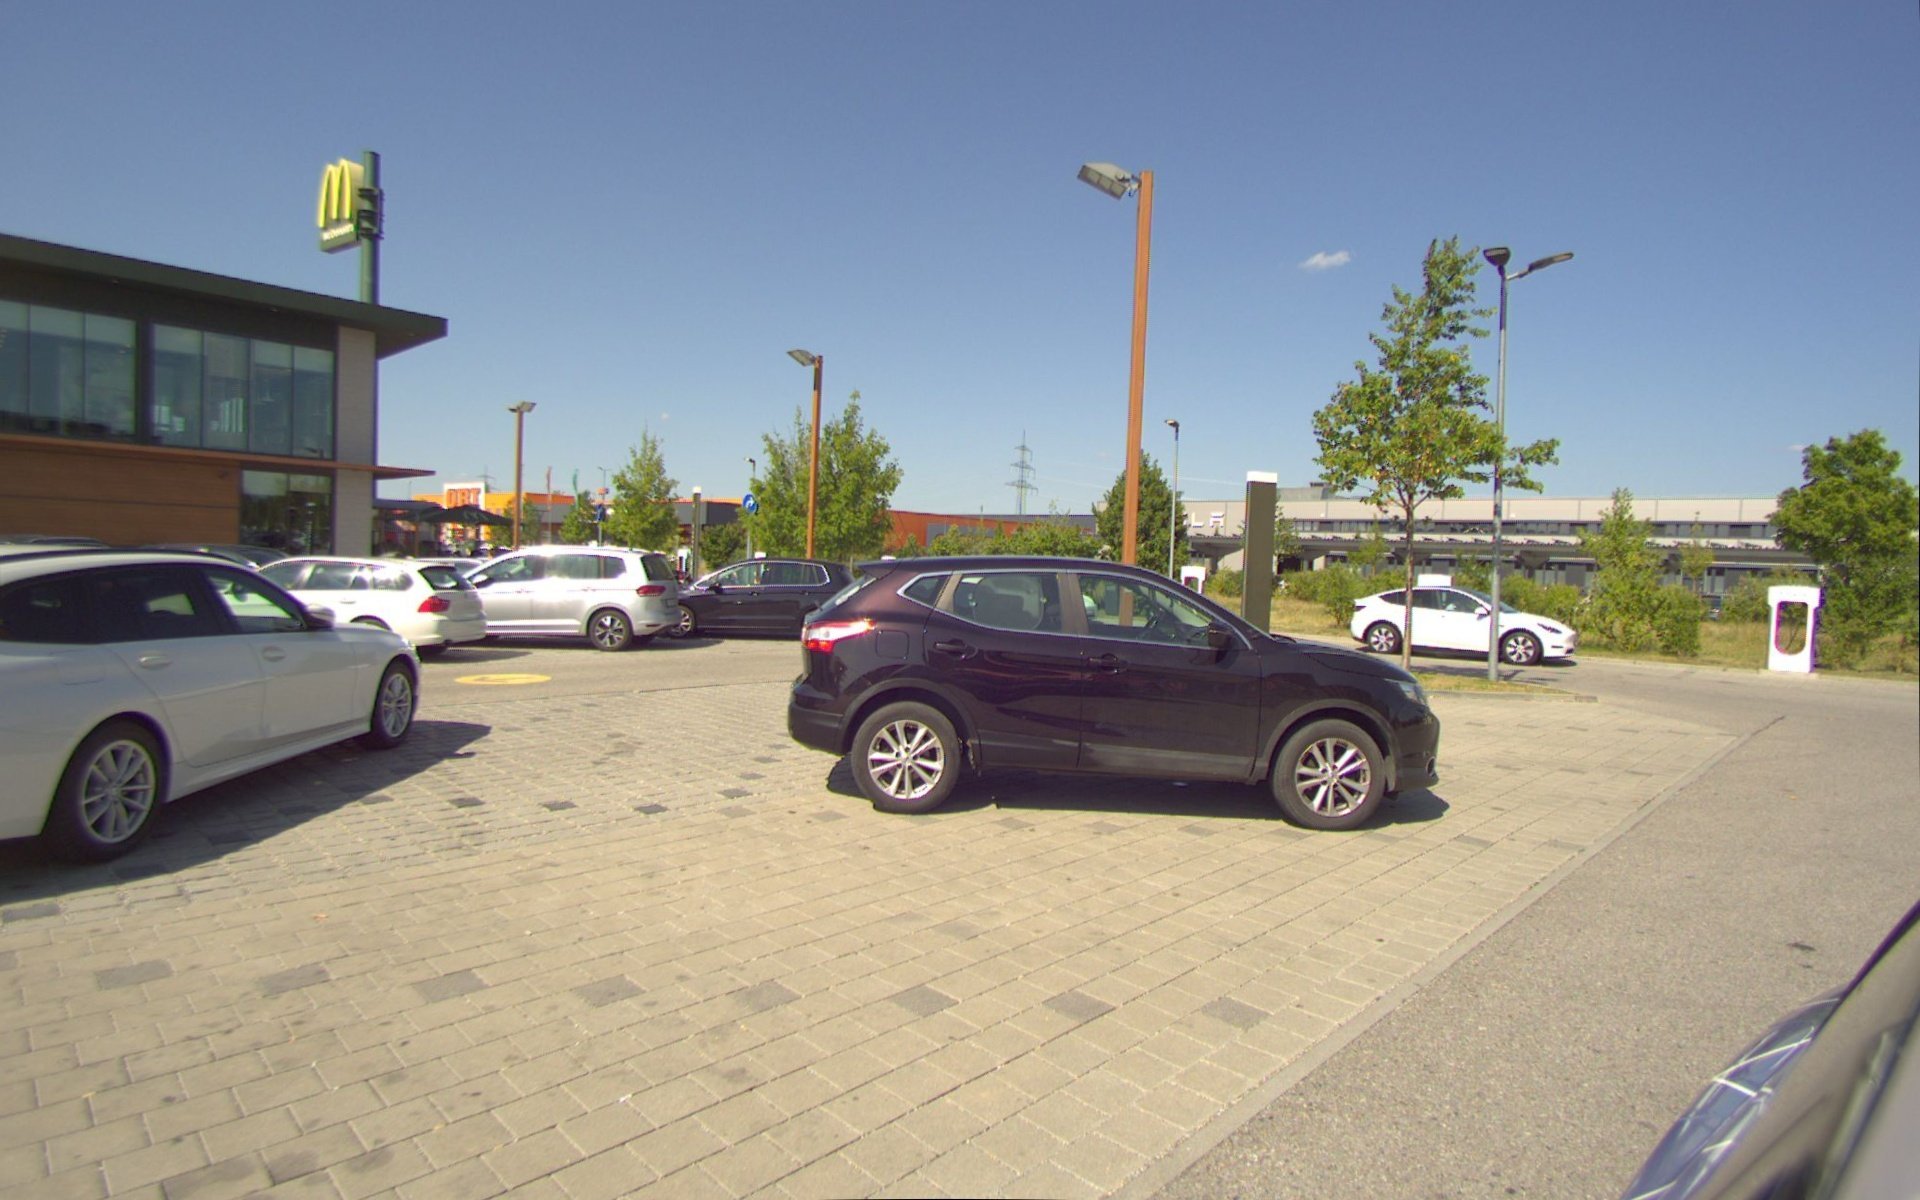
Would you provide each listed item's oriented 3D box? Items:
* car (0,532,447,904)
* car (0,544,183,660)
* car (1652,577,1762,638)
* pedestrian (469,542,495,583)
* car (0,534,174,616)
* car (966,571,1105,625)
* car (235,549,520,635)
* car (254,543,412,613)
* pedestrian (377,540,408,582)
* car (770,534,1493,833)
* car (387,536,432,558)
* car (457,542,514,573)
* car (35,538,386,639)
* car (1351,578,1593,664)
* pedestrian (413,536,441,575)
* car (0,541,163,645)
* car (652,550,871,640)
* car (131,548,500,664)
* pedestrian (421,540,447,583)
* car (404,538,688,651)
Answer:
[{"bbox_3d":[-4.871,0.389,5.863,1.800,1.477,4.590,1,2,-5],"label":"car"},{"bbox_3d":[-14.135,-0.048,14.524,4.557,1.505,1.896,1,2,0],"label":"car"},{"bbox_3d":[23.769,0.199,32.155,4.182,1.771,1.917,0,2,-41],"label":"car"},{"bbox_3d":[-18.519,-1.444,39.182,0.720,1.579,0.690,3,2,45],"label":"pedestrian"},{"bbox_3d":[-19.790,-0.576,22.453,1.684,1.633,4.039,1,2,-2],"label":"car"},{"bbox_3d":[2.362,-0.108,32.429,1.812,1.497,4.322,0,3,-45],"label":"car"},{"bbox_3d":[-11.371,-0.191,19.988,4.557,1.505,1.896,1,2,0],"label":"car"},{"bbox_3d":[-16.079,-0.590,26.191,1.684,1.633,4.039,1,2,-2],"label":"car"},{"bbox_3d":[-21.448,-1.474,38.268,0.692,1.579,0.719,2,1,16],"label":"pedestrian"},{"bbox_3d":[0.999,0.469,6.919,4.222,1.610,1.858,2,1,0],"label":"car"},{"bbox_3d":[-61.661,-5.948,113.390,1.992,2.331,3.940,3,2,41],"label":"car"},{"bbox_3d":[-25.499,-2.285,54.301,1.733,1.581,3.877,0,2,-42],"label":"car"},{"bbox_3d":[-12.524,-0.219,17.127,4.557,1.505,1.896,1,2,0],"label":"car"},{"bbox_3d":[11.457,0.387,22.847,4.558,1.612,1.815,3,2,41],"label":"car"},{"bbox_3d":[-21.768,-1.811,41.341,0.692,1.579,0.719,2,1,16],"label":"pedestrian"},{"bbox_3d":[-16.964,-0.149,18.188,1.646,1.797,3.903,2,2,39],"label":"car"},{"bbox_3d":[-3.723,-0.116,19.539,3.921,1.571,1.756,1,1,-3],"label":"car"},{"bbox_3d":[-8.889,0.049,14.232,4.035,1.430,1.815,1,2,-2],"label":"car"},{"bbox_3d":[-19.850,-1.450,38.202,0.720,1.579,0.690,3,2,45],"label":"pedestrian"},{"bbox_3d":[-6.830,-0.121,17.006,4.037,1.695,1.814,1,2,0],"label":"car"}]
